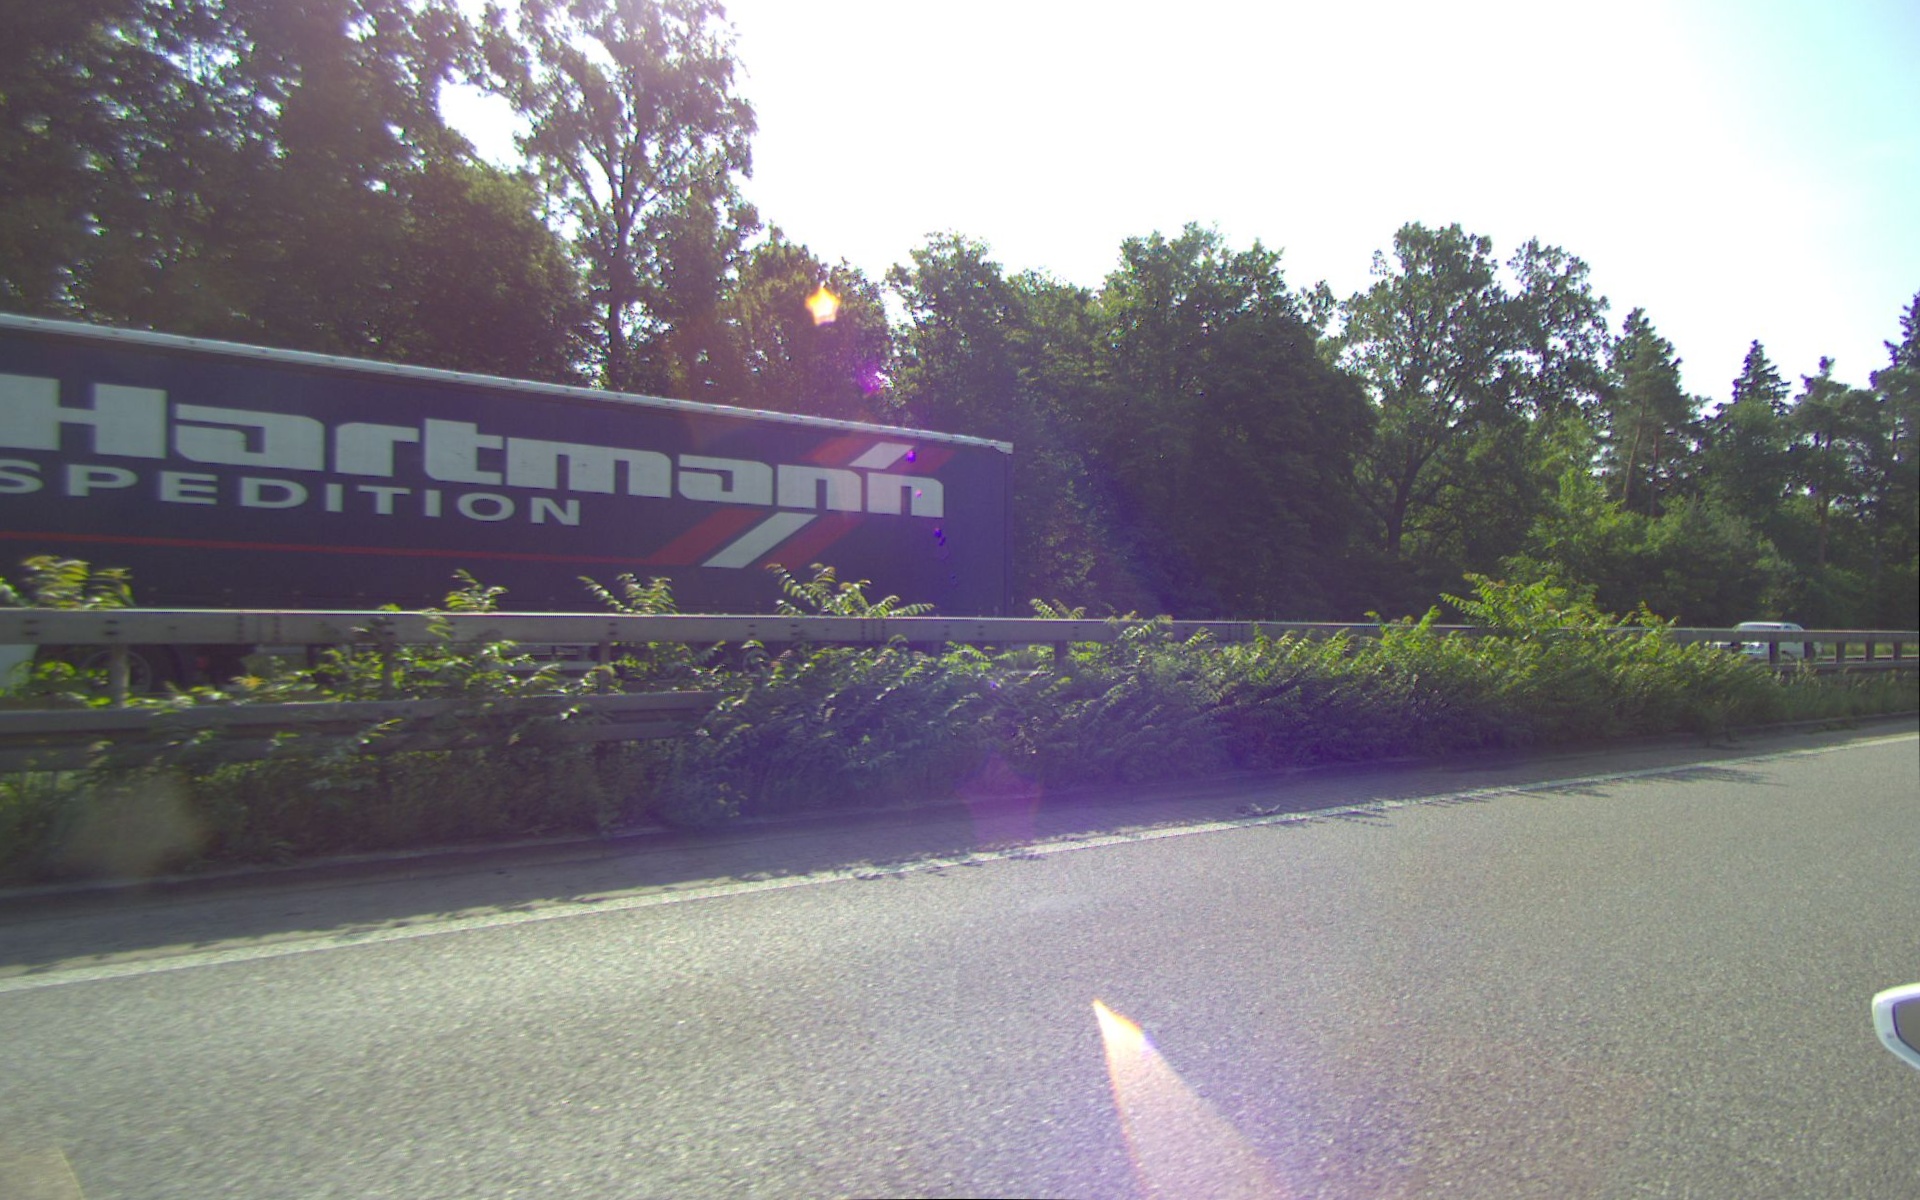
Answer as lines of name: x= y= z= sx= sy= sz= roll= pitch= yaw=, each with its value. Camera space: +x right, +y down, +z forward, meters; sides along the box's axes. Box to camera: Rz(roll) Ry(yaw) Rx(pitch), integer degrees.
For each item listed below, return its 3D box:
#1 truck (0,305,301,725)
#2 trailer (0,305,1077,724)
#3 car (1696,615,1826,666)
truck: x=-10.993 y=-0.827 z=10.656 sx=6.489 sy=4.124 sz=2.951 roll=1 pitch=-1 yaw=-31
trailer: x=-4.827 y=-0.721 z=14.403 sx=14.153 sy=4.124 sz=2.951 roll=1 pitch=-1 yaw=-31
car: x=26.396 y=1.304 z=33.056 sx=4.754 sy=1.485 sz=1.742 roll=1 pitch=2 yaw=-31
